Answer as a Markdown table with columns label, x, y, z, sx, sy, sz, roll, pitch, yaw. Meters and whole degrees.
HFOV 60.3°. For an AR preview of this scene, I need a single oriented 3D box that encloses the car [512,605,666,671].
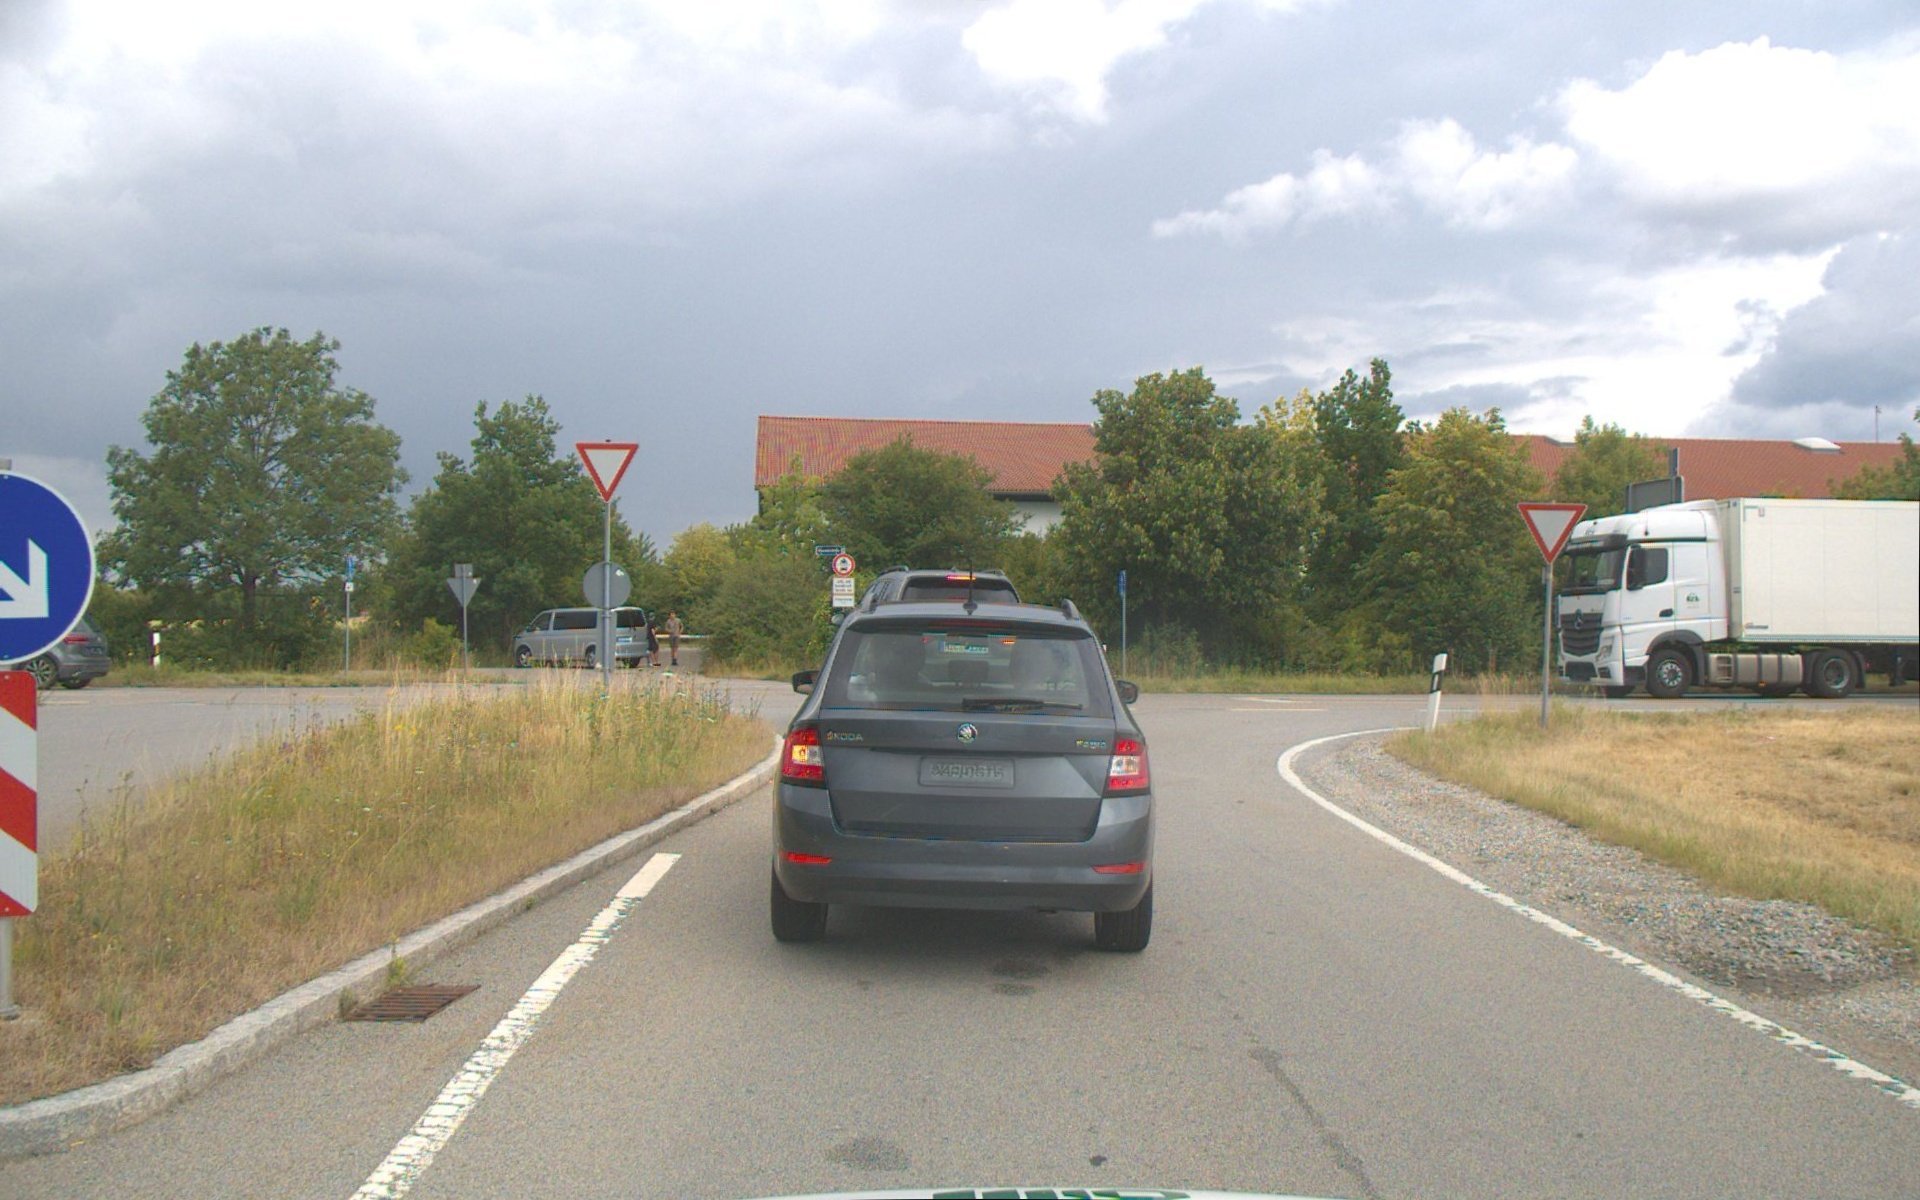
| label | x | y | z | sx | sy | sz | roll | pitch | yaw |
| --- | --- | --- | --- | --- | --- | --- | --- | --- | --- |
| car | -12.431 | 1.223 | 55.283 | 4.811 | 2.049 | 2.336 | 0 | 1 | 33 |

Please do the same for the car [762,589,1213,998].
| label | x | y | z | sx | sy | sz | roll | pitch | yaw |
| --- | --- | --- | --- | --- | --- | --- | --- | --- | --- |
| car | 0.023 | 0.708 | 7.964 | 1.643 | 1.488 | 3.706 | 1 | 0 | -3 |

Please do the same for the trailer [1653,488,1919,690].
| label | x | y | z | sx | sy | sz | roll | pitch | yaw |
| --- | --- | --- | --- | --- | --- | --- | --- | --- | --- |
| trailer | 22.269 | -0.147 | 35.940 | 13.579 | 4.085 | 3.123 | 0 | -2 | -8 |

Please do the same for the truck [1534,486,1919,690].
| label | x | y | z | sx | sy | sz | roll | pitch | yaw |
| --- | --- | --- | --- | --- | --- | --- | --- | --- | --- |
| truck | 16.341 | -0.174 | 35.198 | 7.145 | 4.085 | 3.123 | 0 | -2 | -8 |

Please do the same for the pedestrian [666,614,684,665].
| label | x | y | z | sx | sy | sz | roll | pitch | yaw |
| --- | --- | --- | --- | --- | --- | --- | --- | --- | --- |
| pedestrian | -9.783 | 1.344 | 56.750 | 0.573 | 1.712 | 0.564 | 0 | 0 | -11 |

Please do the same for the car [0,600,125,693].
| label | x | y | z | sx | sy | sz | roll | pitch | yaw |
| --- | --- | --- | --- | --- | --- | --- | --- | --- | --- |
| car | -18.014 | 0.858 | 30.578 | 4.133 | 1.629 | 1.996 | -1 | 0 | -10 |

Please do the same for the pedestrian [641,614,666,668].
| label | x | y | z | sx | sy | sz | roll | pitch | yaw |
| --- | --- | --- | --- | --- | --- | --- | --- | --- | --- |
| pedestrian | -10.181 | 1.347 | 54.889 | 0.519 | 1.756 | 0.640 | 0 | 0 | 31 |

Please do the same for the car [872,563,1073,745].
| label | x | y | z | sx | sy | sz | roll | pitch | yaw |
| --- | --- | --- | --- | --- | --- | --- | --- | --- | --- |
| car | 0.004 | 0.585 | 18.918 | 1.954 | 1.806 | 4.640 | 1 | -1 | -4 |
